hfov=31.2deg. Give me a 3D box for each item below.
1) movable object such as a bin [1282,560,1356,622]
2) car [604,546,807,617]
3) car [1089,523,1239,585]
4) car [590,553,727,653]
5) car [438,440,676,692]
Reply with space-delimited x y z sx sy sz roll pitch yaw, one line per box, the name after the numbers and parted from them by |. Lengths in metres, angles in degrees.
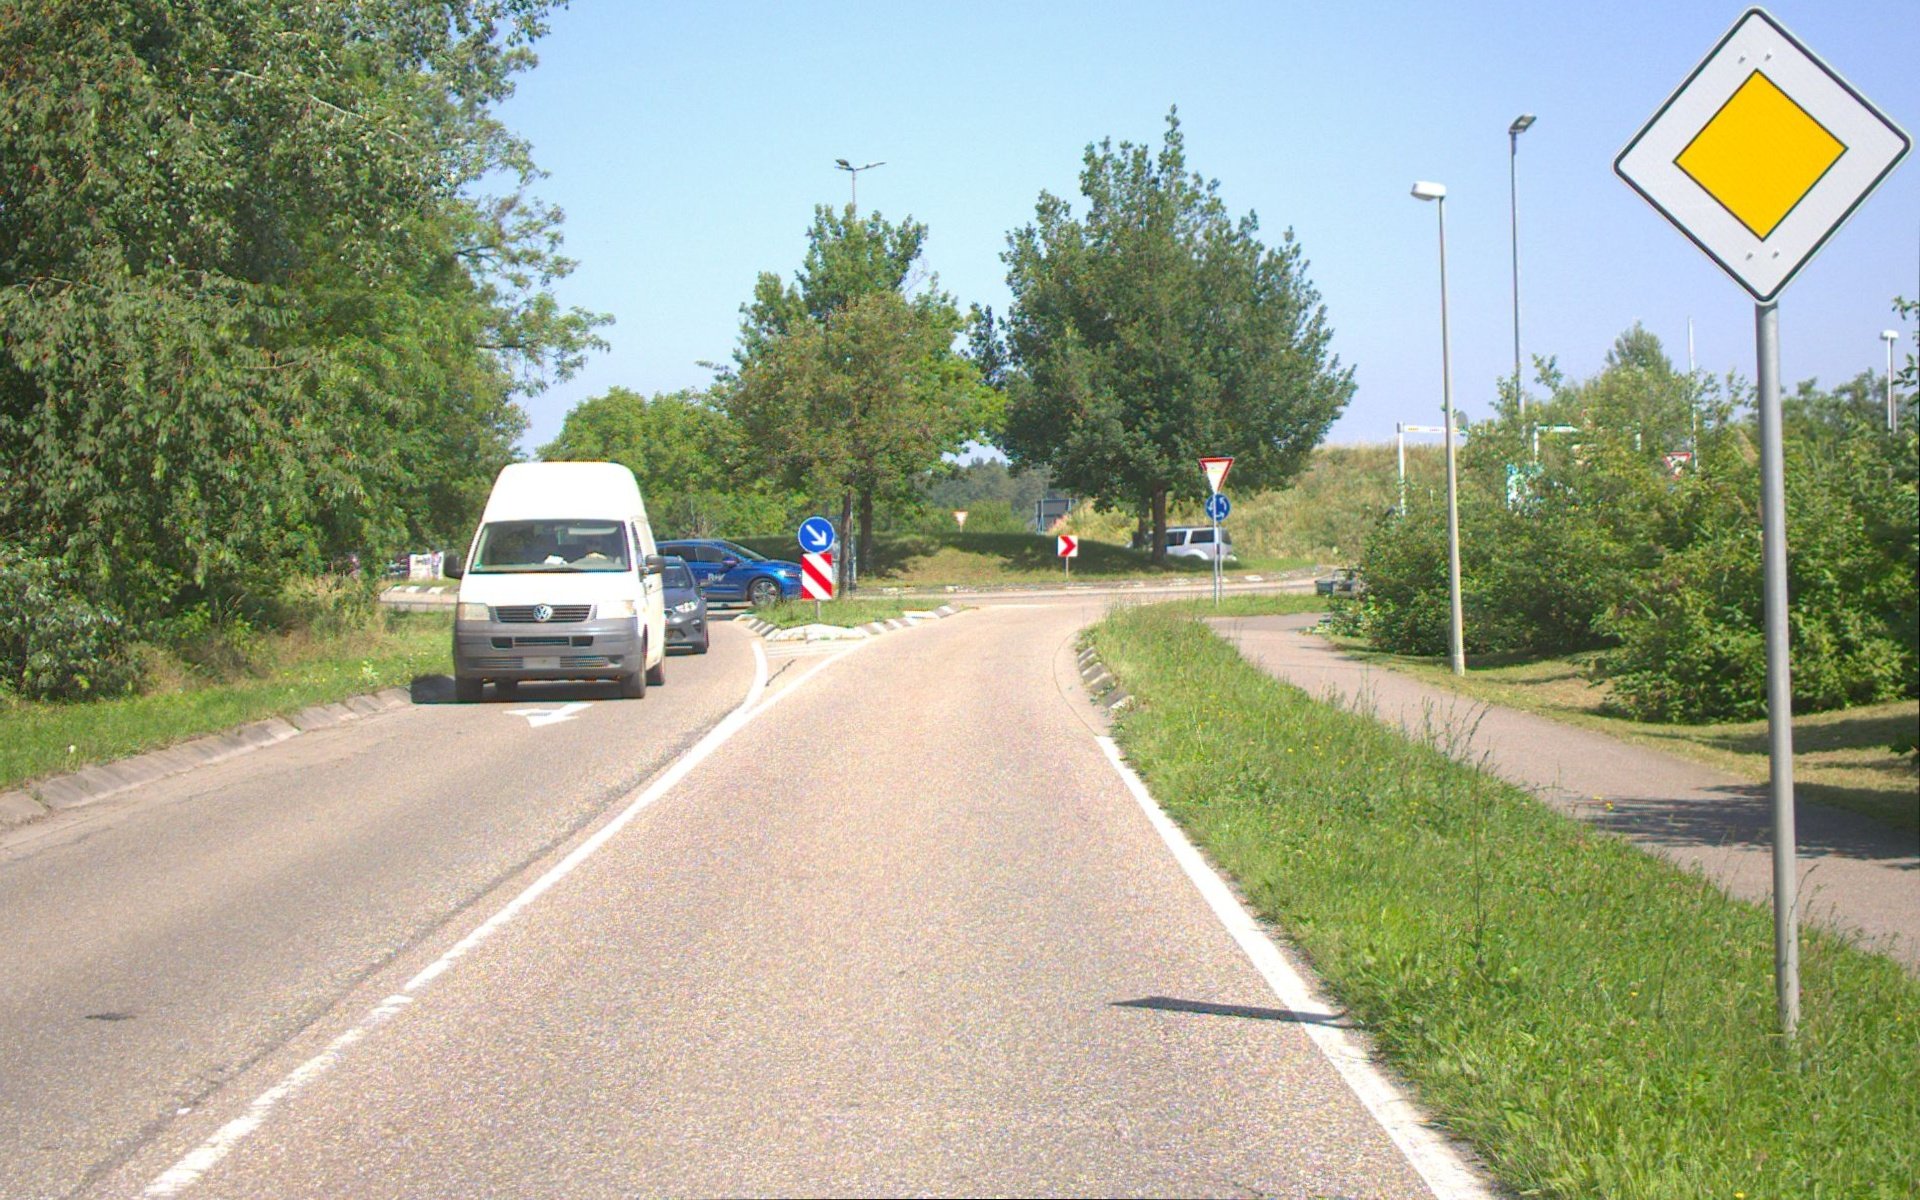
6.662 -0.175 63.772 0.869 1.116 1.453 0 1 28 | movable object such as a bin
-5.891 -0.442 79.889 4.415 1.566 1.716 -1 1 9 | car
6.614 -1.504 111.454 4.514 1.853 1.999 -1 1 15 | car
-4.463 0.013 51.386 1.698 1.384 4.294 -1 1 -1 | car
-4.091 -0.375 35.621 1.912 2.392 4.911 -1 1 -1 | car
